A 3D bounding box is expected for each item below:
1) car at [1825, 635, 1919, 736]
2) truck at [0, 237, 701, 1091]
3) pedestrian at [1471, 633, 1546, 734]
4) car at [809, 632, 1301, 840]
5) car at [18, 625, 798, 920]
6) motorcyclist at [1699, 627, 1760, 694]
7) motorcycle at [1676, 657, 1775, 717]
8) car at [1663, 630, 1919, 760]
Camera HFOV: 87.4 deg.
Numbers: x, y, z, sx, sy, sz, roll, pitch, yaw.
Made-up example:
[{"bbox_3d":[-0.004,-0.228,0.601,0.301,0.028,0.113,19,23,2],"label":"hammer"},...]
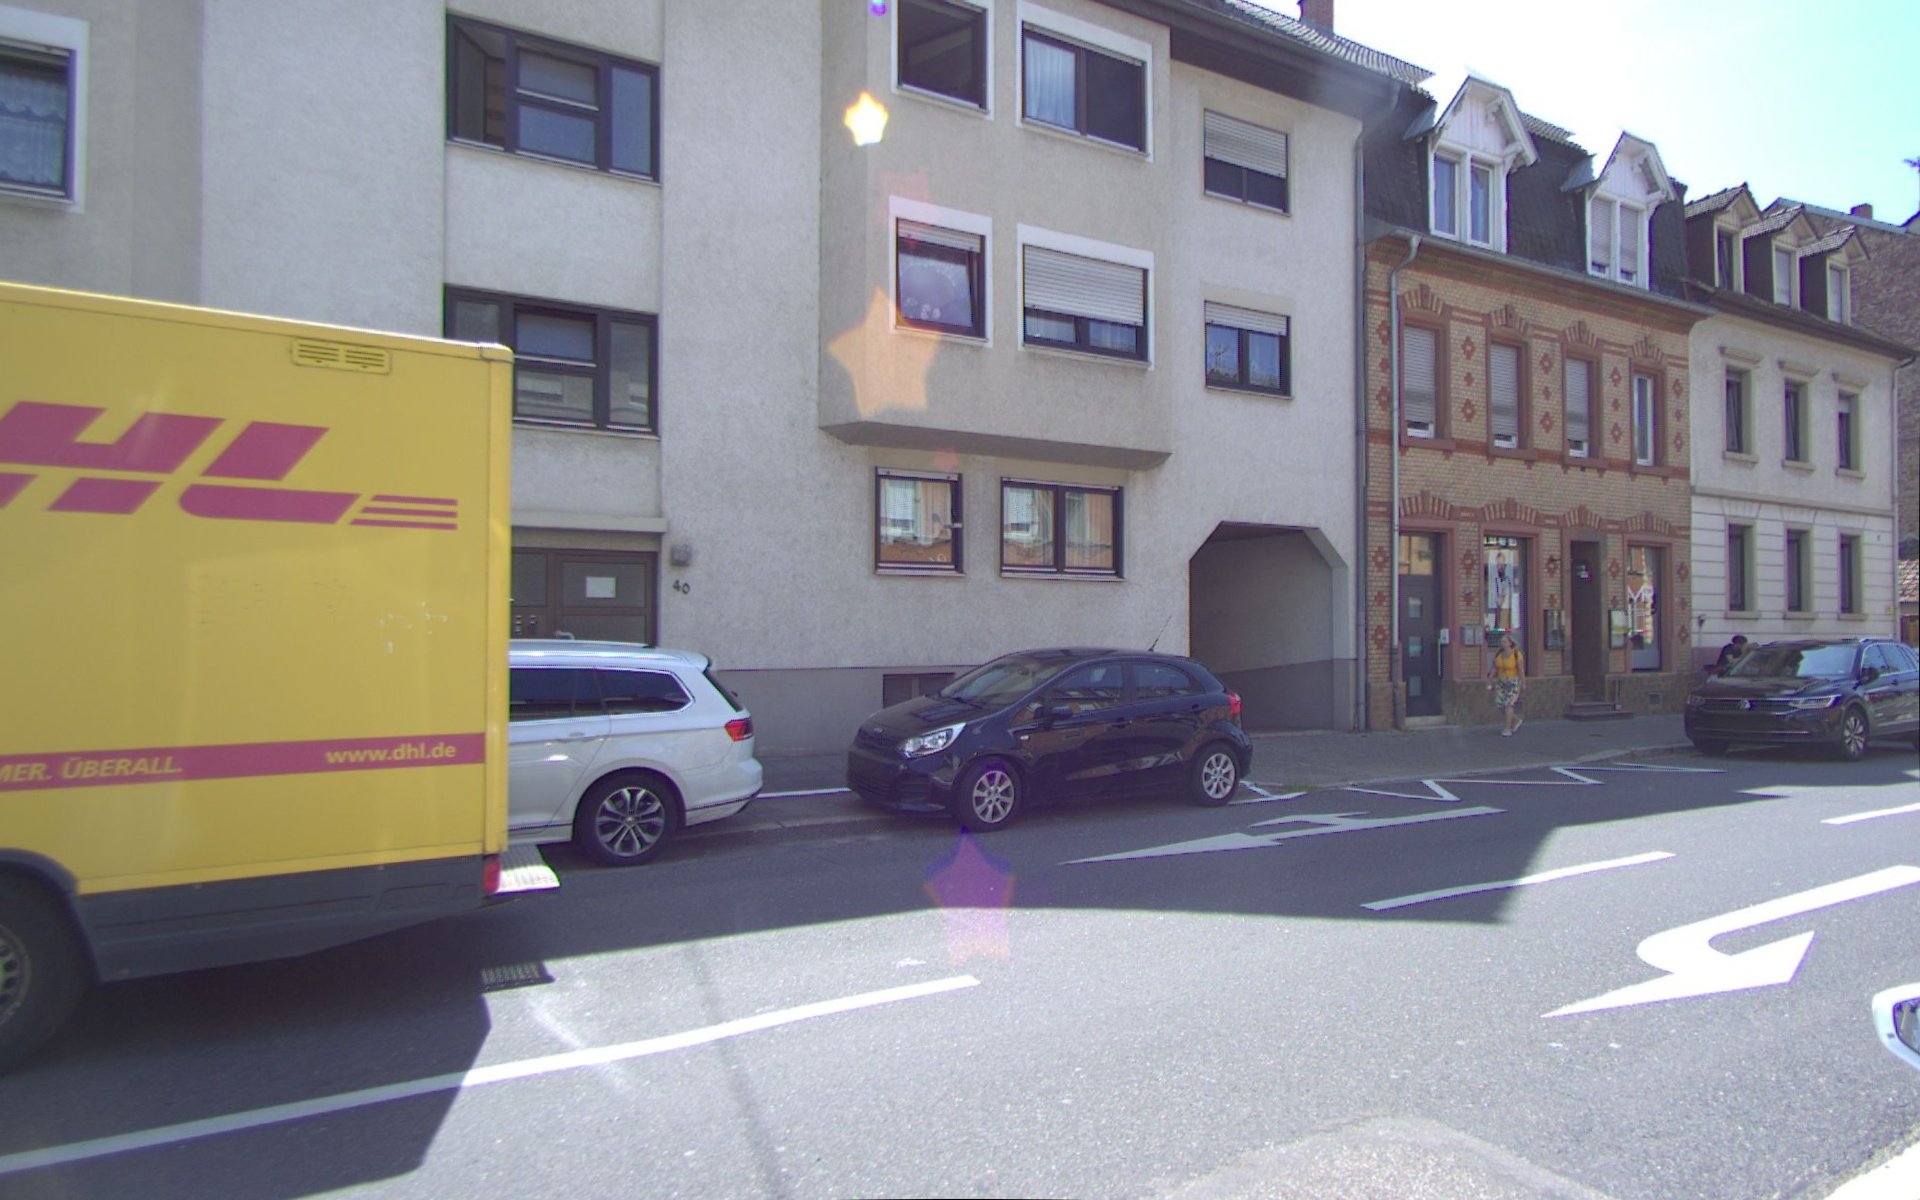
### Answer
[{"bbox_3d":[17.237,1.454,17.441,4.447,1.617,1.833,2,-6,-29],"label":"car"},{"bbox_3d":[-4.928,0.223,3.580,7.471,2.807,2.217,1,-4,-29],"label":"truck"},{"bbox_3d":[8.604,1.282,15.756,0.959,1.515,0.606,1,0,-28],"label":"pedestrian"},{"bbox_3d":[0.995,1.121,9.599,4.450,1.508,1.830,2,0,-31],"label":"car"},{"bbox_3d":[-3.545,0.993,7.217,4.334,1.508,1.831,2,0,-30],"label":"car"},{"bbox_3d":[15.063,1.172,19.672,0.703,1.264,0.715,1,-2,-29],"label":"motorcyclist"},{"bbox_3d":[14.942,1.664,19.599,1.848,1.092,0.842,1,-2,-28],"label":"motorcycle"},{"bbox_3d":[12.341,1.303,14.458,4.447,1.617,1.833,2,-4,-29],"label":"car"}]
